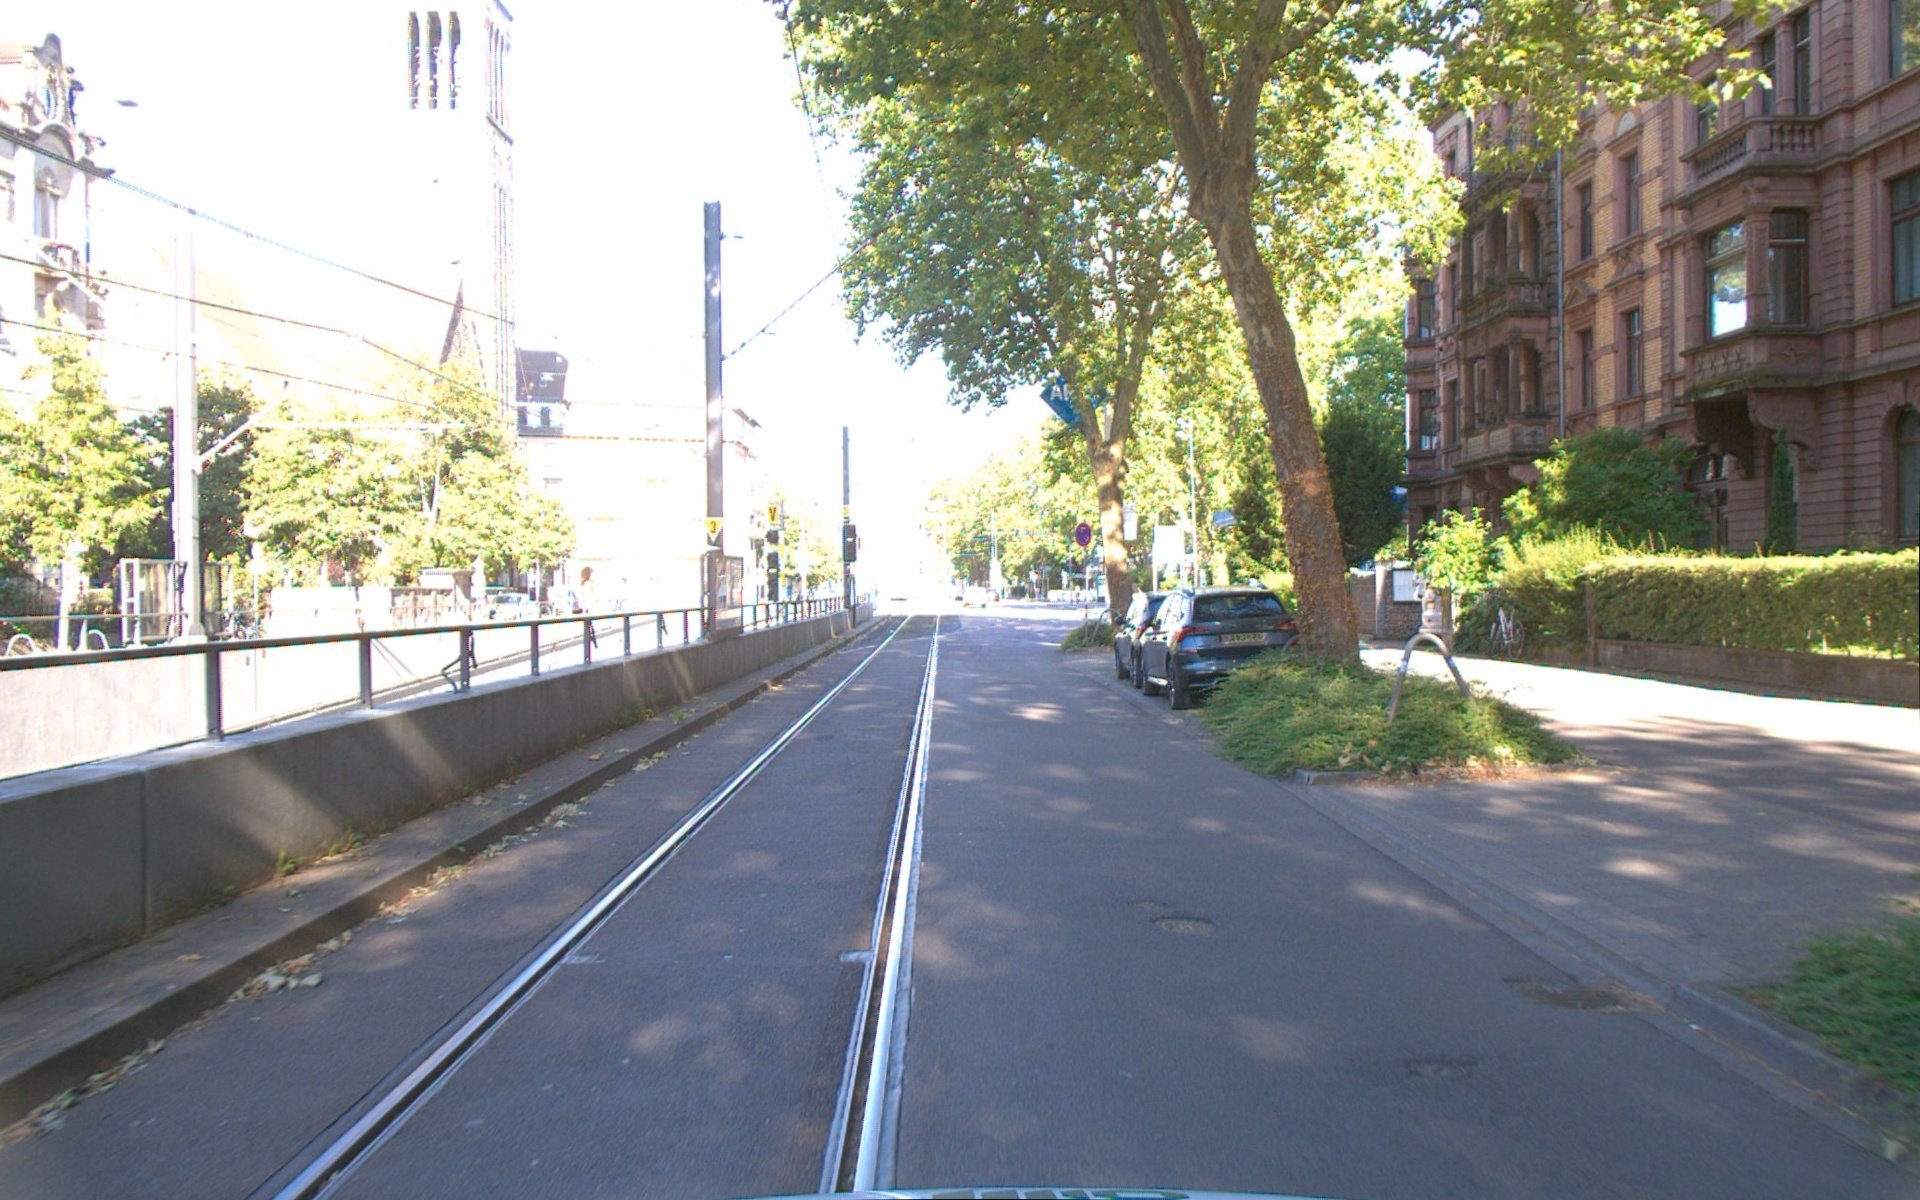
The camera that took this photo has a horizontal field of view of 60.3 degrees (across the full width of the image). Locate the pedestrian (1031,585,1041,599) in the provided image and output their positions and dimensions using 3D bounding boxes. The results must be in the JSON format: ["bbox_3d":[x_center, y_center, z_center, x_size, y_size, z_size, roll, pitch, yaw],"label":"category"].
[{"bbox_3d":[7.798,-0.832,169.754,0.647,1.412,0.830,2,0,31],"label":"pedestrian"}]

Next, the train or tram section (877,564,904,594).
[{"bbox_3d":[-8.526,-2.551,203.715,2.892,3.469,10.790,2,1,0],"label":"train or tram section"}]

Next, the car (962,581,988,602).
[{"bbox_3d":[1.054,-0.620,120.481,1.710,1.487,3.643,2,1,-2],"label":"car"}]

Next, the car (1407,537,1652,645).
[{"bbox_3d":[12.030,-0.184,35.128,4.480,2.049,1.914,-2,0,-1],"label":"car"}]

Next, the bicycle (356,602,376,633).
[{"bbox_3d":[-21.047,0.612,58.595,0.479,1.040,1.879,2,1,-24],"label":"bicycle"}]

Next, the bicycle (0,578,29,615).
[{"bbox_3d":[-27.547,-0.114,47.314,0.494,1.036,2.112,2,0,3],"label":"bicycle"}]

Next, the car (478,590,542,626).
[{"bbox_3d":[-21.362,0.341,78.597,1.680,1.582,4.511,2,1,1],"label":"car"}]

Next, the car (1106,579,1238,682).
[{"bbox_3d":[3.387,0.447,27.046,1.520,1.525,4.049,-2,0,-1],"label":"car"}]

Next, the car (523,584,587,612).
[{"bbox_3d":[-27.977,-0.175,114.350,3.904,1.787,1.895,2,0,2],"label":"car"}]

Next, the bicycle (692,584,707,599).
[{"bbox_3d":[-20.660,-0.701,131.148,0.618,1.164,2.281,-2,1,6],"label":"bicycle"}]

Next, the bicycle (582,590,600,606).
[{"bbox_3d":[-32.782,-0.169,146.856,0.813,1.305,2.538,2,1,-31],"label":"bicycle"}]

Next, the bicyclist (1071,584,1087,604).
[{"bbox_3d":[10.555,-0.571,146.483,1.179,1.726,0.900,2,0,-16],"label":"bicyclist"}]

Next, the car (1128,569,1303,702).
[{"bbox_3d":[3.407,0.426,22.788,1.584,1.615,4.416,-2,0,-1],"label":"car"}]

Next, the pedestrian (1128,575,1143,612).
[{"bbox_3d":[8.948,-0.328,84.465,0.590,1.807,0.690,-4,0,3],"label":"pedestrian"}]

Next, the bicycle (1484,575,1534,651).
[{"bbox_3d":[9.527,0.211,28.736,0.330,1.271,1.767,2,0,3],"label":"bicycle"}]

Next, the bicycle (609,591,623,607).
[{"bbox_3d":[-30.714,-0.108,147.682,0.809,1.305,2.551,2,1,-19],"label":"bicycle"}]

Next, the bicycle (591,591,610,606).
[{"bbox_3d":[-32.015,-0.148,147.330,0.813,1.305,2.538,2,1,-31],"label":"bicycle"}]
